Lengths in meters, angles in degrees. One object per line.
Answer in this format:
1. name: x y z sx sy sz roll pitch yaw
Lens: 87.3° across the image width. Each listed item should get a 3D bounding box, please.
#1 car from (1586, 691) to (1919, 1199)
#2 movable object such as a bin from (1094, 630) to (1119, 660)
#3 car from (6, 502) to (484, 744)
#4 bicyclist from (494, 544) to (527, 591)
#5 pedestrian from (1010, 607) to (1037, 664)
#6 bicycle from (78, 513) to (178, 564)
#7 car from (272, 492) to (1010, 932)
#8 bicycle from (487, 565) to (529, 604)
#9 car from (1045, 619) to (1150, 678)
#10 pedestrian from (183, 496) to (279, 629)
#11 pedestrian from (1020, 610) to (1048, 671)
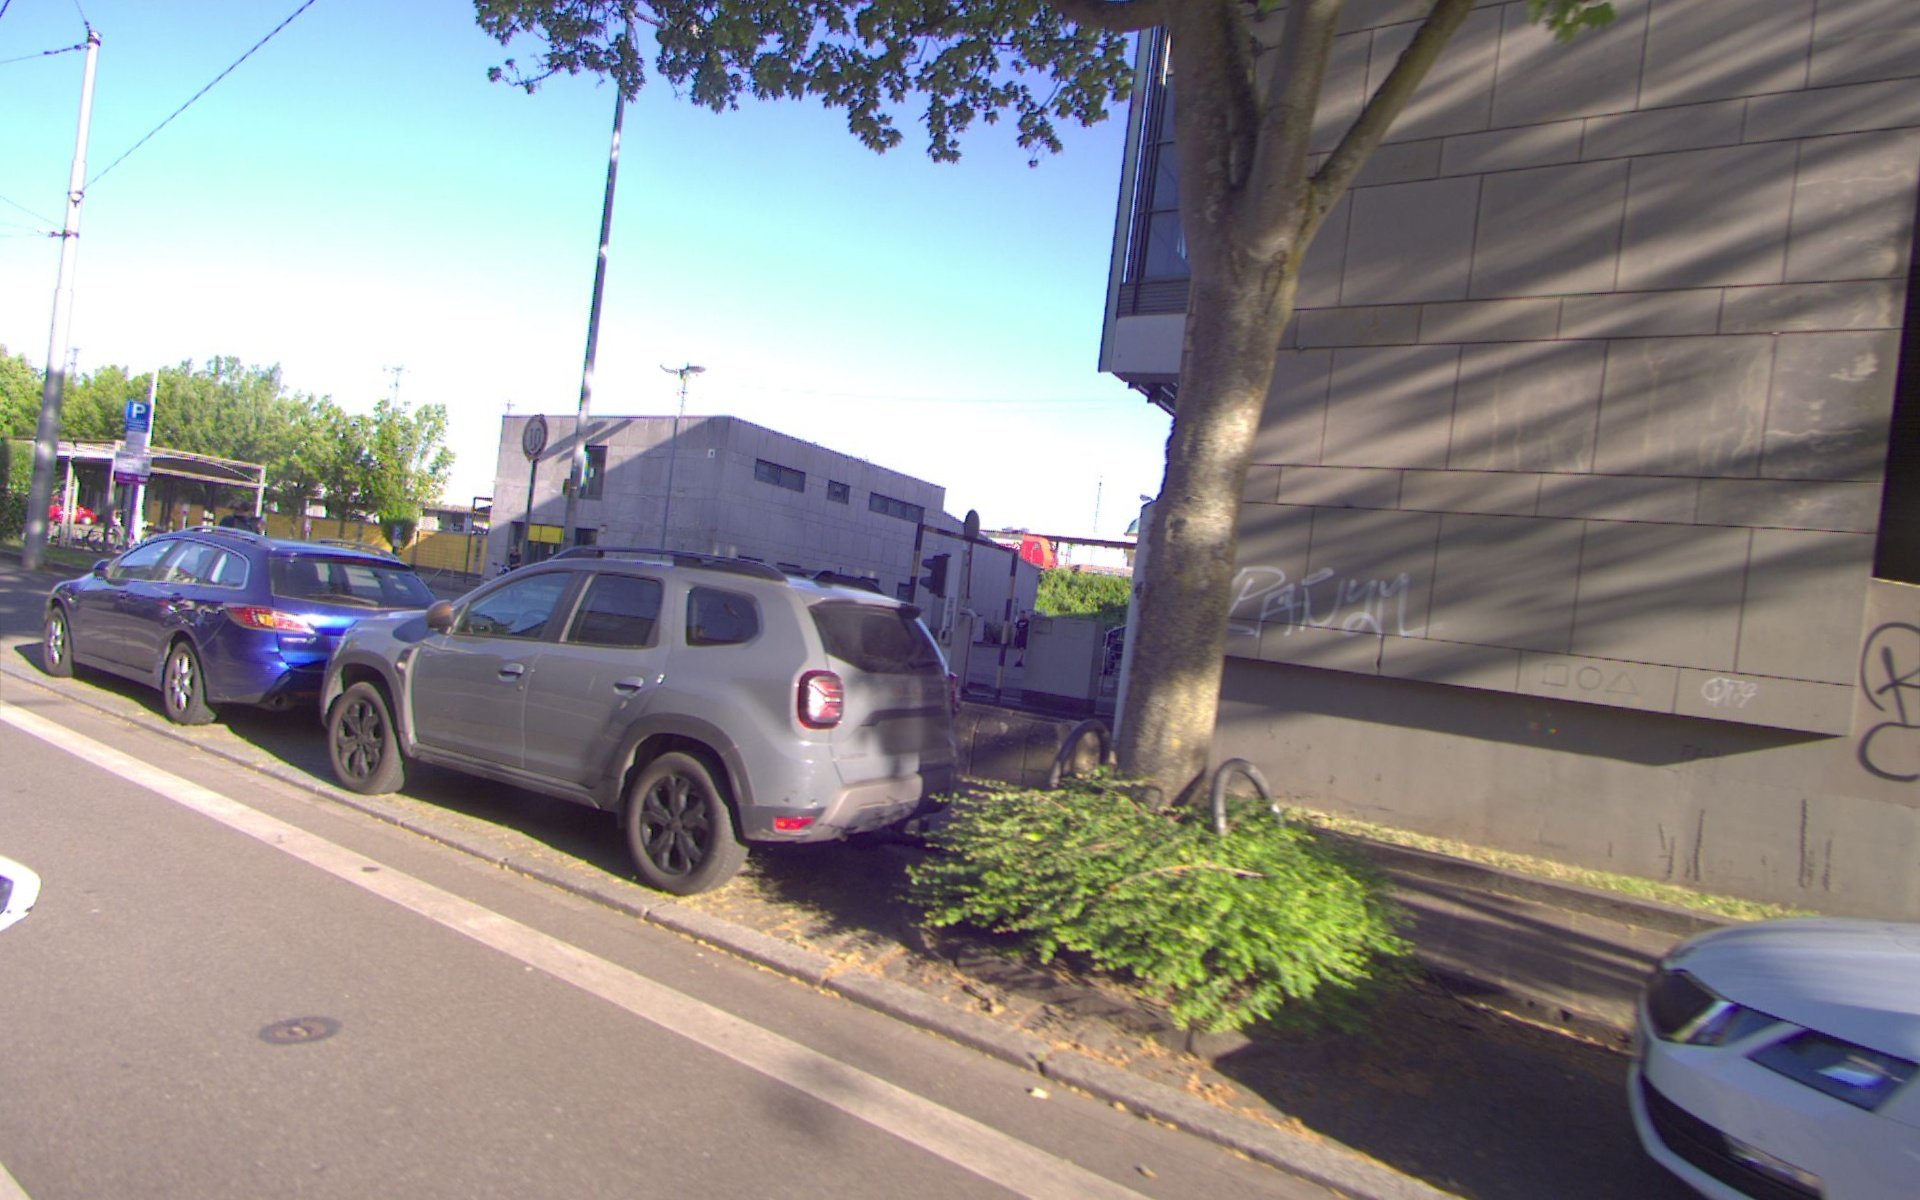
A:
1. car: 4.087 1.310 2.096 4.546 1.507 1.716 7 -1 32
2. movable object such as a bin: 6.976 2.142 47.943 0.767 1.294 0.903 6 -1 31
3. car: -6.420 0.107 8.866 4.581 1.499 1.704 6 -1 32
4. bicyclist: -14.440 -1.044 32.327 0.719 1.400 0.580 7 -1 -15
5. pedestrian: 2.066 1.167 32.858 0.503 1.801 0.481 6 -1 33
6. bicycle: -21.855 -1.613 26.459 0.569 1.019 1.893 6 -2 44
7. car: -2.044 0.448 6.143 4.205 1.732 1.745 6 -1 29
8. bicycle: -14.515 -0.478 32.356 0.742 1.083 2.005 7 -2 -13
9. car: 4.632 1.650 33.354 1.870 1.490 4.083 6 -2 31
10. pedestrian: -10.698 -0.553 14.755 1.282 1.814 0.670 6 4 32
11. pedestrian: 2.298 1.264 31.291 0.503 1.801 0.481 6 -1 33
